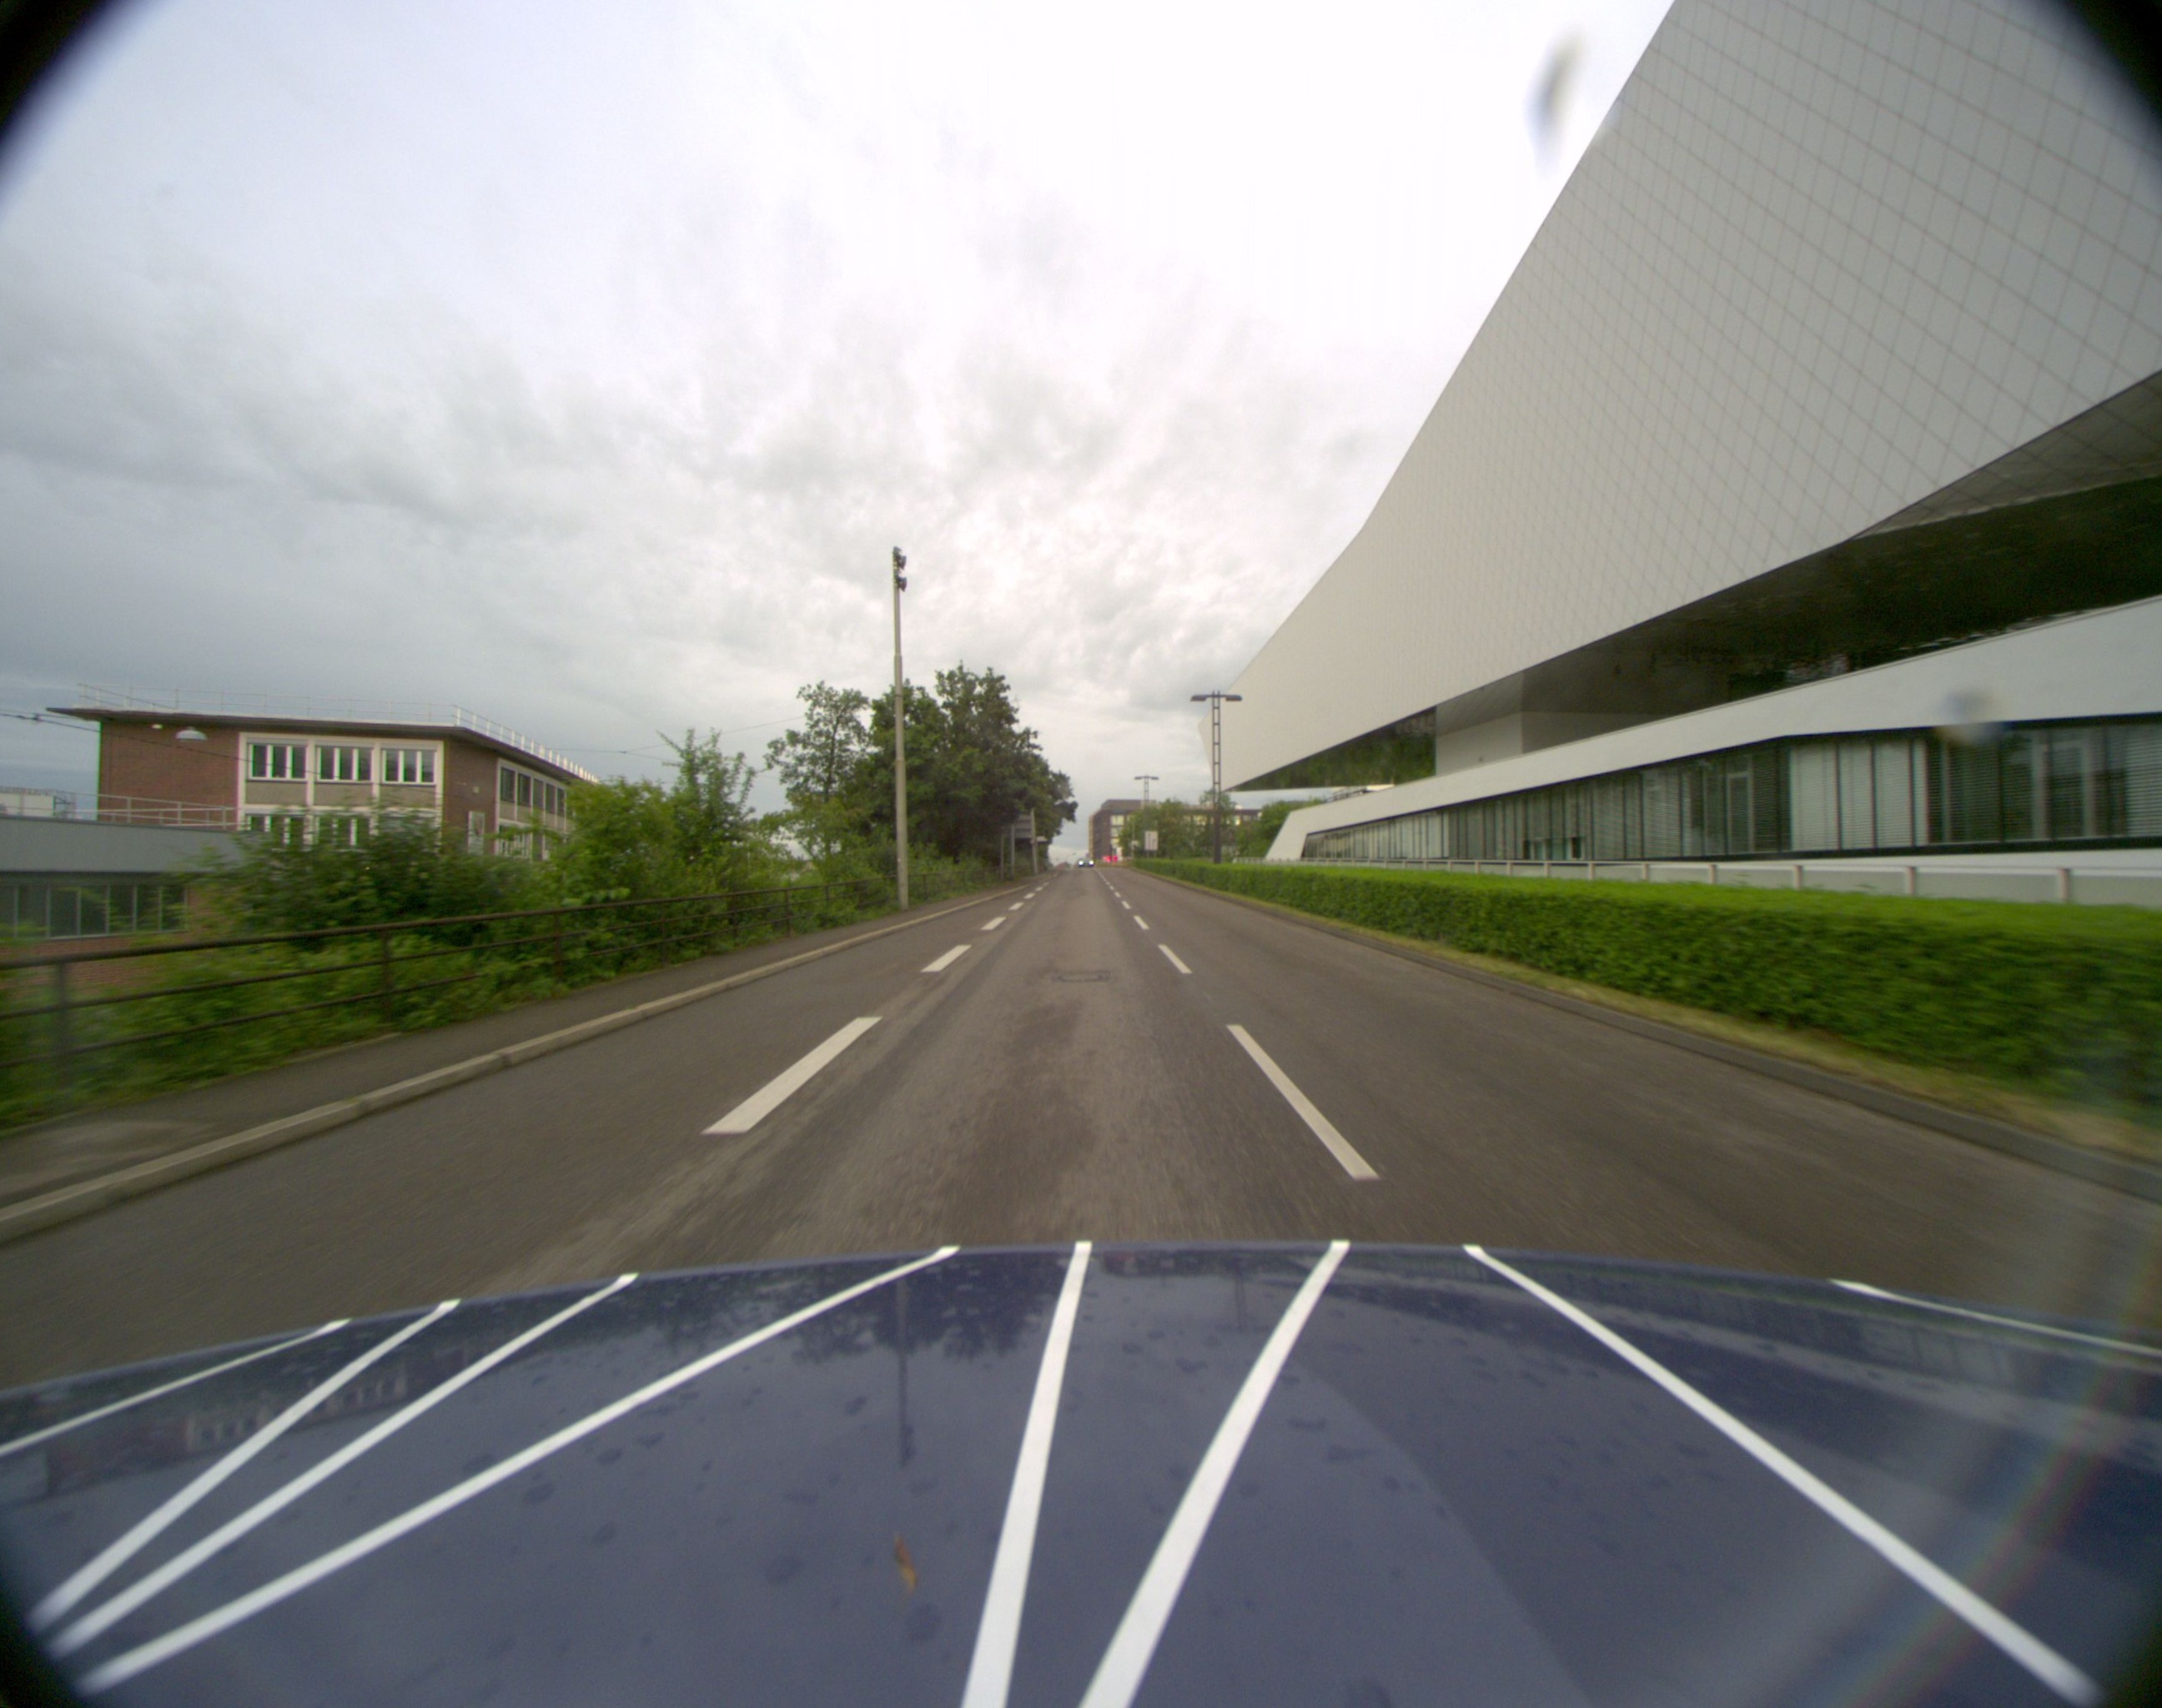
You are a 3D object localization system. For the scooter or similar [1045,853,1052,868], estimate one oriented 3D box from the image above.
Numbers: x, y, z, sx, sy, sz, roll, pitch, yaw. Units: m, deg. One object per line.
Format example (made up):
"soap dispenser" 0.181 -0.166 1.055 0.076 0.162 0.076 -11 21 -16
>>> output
"scooter or similar" -2.893 0.573 67.888 0.539 1.225 1.844 -1 1 0

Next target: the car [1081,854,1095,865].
"car" 0.976 0.775 106.533 1.841 1.574 4.288 -1 0 -2
